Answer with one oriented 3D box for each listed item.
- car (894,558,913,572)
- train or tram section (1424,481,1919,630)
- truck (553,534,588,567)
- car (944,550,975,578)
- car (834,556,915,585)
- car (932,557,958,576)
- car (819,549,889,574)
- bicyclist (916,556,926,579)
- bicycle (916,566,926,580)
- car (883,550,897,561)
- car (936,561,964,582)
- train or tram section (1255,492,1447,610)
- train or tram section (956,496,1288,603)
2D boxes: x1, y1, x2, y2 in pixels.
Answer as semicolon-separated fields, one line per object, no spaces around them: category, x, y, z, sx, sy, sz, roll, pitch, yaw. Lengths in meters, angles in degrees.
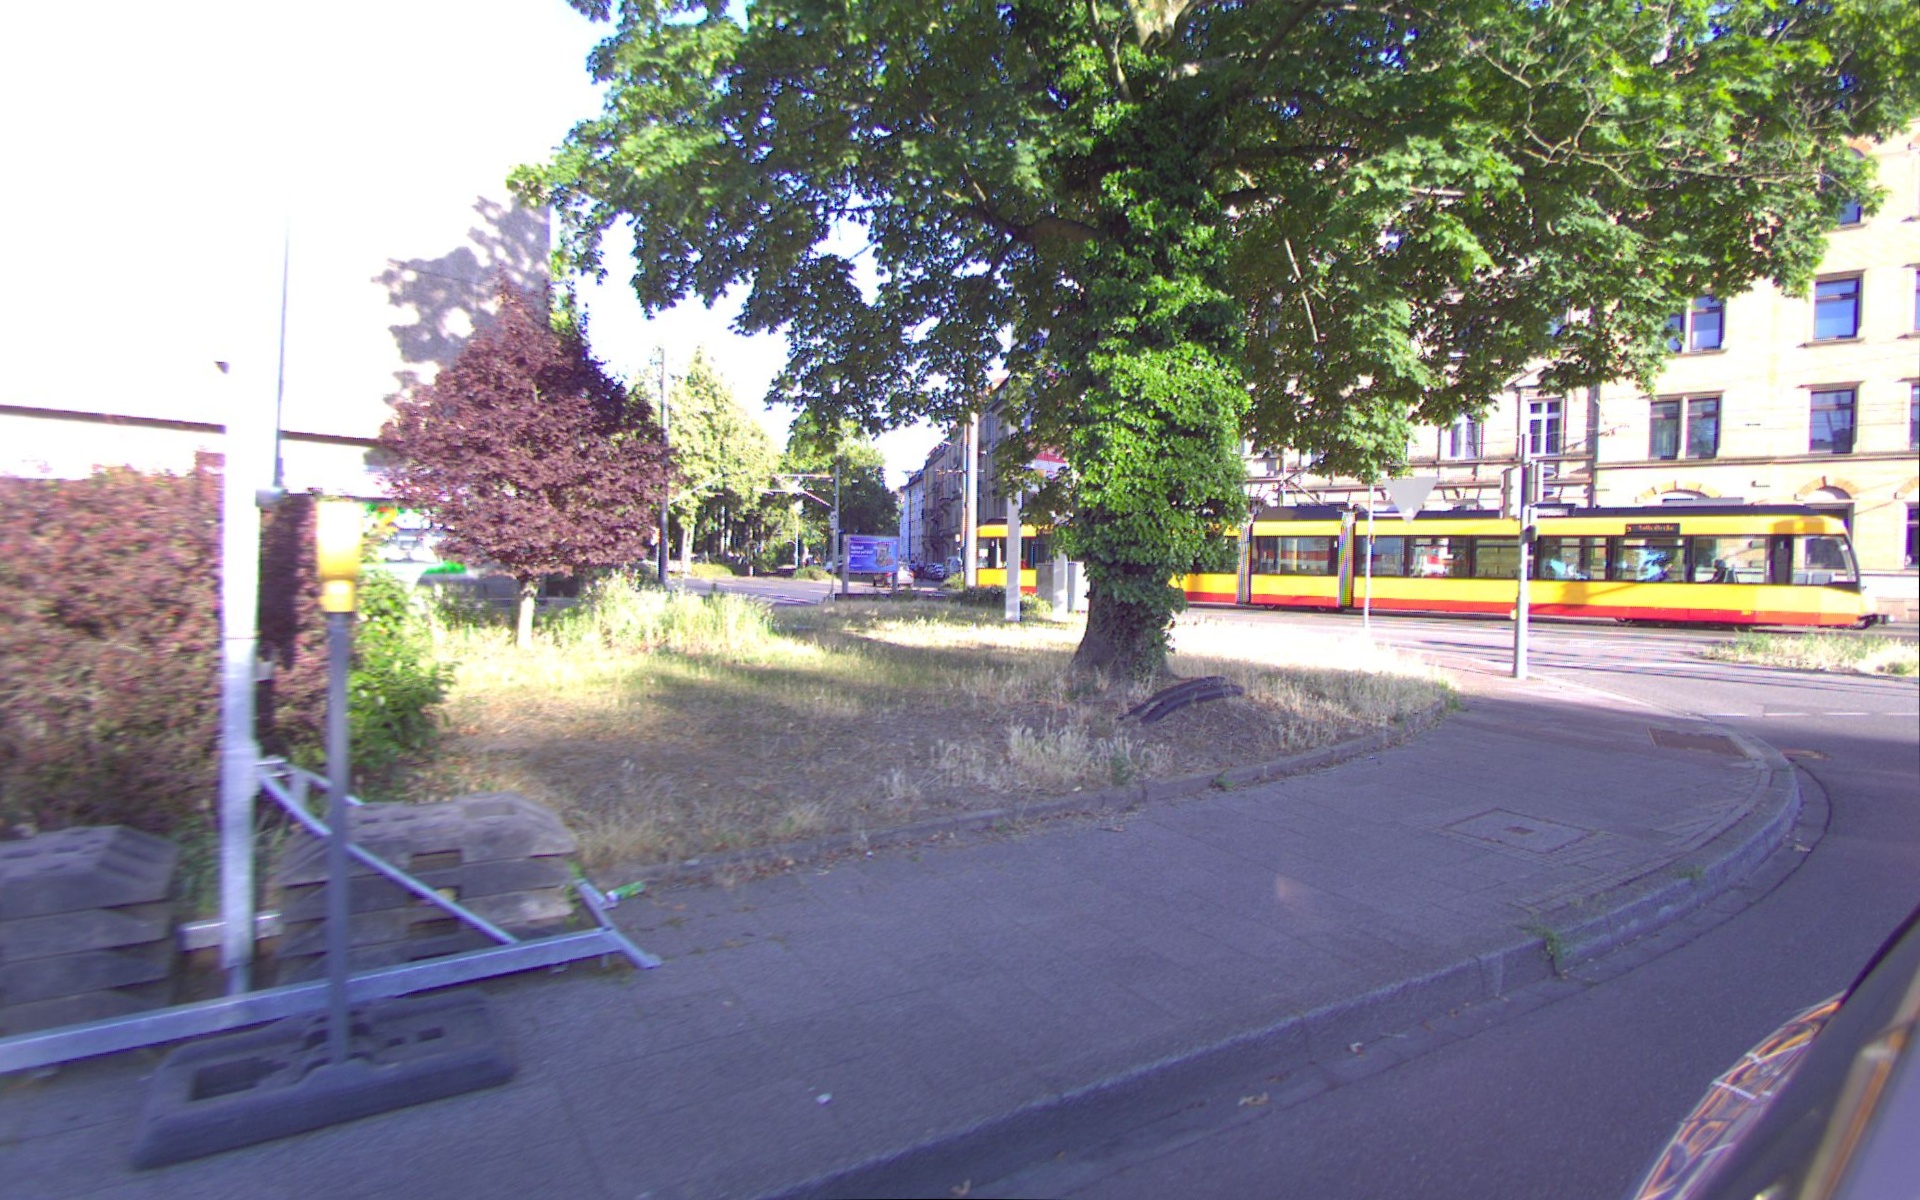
car;-6.665;-4.138;119.778;1.959;1.660;4.006;1;2;-6
train or tram section;19.425;-1.281;28.432;11.231;3.551;2.833;3;2;36
truck;-35.015;-4.460;91.081;1.959;2.817;4.893;1;2;-8
car;-0.095;-2.820;78.186;1.960;2.038;4.642;1;2;-5
car;-4.534;-1.580;53.461;4.142;1.396;1.790;3;3;38
car;-1.404;-3.084;91.671;1.959;1.660;4.006;1;2;-6
car;-8.188;-2.961;78.038;4.982;1.810;1.993;2;2;13
bicyclist;-3.120;-2.657;81.882;0.716;1.863;1.212;1;1;2
bicycle;-3.129;-2.192;81.931;0.715;1.097;2.117;1;2;1
car;-10.240;-6.514;148.007;1.959;1.660;4.006;1;2;-6
car;-0.856;-2.373;84.081;1.959;1.660;4.006;1;2;-6
train or tram section;12.826;-1.610;33.339;5.275;3.551;2.832;2;2;38
train or tram section;5.758;-1.958;39.021;12.952;3.551;2.830;3;3;39
